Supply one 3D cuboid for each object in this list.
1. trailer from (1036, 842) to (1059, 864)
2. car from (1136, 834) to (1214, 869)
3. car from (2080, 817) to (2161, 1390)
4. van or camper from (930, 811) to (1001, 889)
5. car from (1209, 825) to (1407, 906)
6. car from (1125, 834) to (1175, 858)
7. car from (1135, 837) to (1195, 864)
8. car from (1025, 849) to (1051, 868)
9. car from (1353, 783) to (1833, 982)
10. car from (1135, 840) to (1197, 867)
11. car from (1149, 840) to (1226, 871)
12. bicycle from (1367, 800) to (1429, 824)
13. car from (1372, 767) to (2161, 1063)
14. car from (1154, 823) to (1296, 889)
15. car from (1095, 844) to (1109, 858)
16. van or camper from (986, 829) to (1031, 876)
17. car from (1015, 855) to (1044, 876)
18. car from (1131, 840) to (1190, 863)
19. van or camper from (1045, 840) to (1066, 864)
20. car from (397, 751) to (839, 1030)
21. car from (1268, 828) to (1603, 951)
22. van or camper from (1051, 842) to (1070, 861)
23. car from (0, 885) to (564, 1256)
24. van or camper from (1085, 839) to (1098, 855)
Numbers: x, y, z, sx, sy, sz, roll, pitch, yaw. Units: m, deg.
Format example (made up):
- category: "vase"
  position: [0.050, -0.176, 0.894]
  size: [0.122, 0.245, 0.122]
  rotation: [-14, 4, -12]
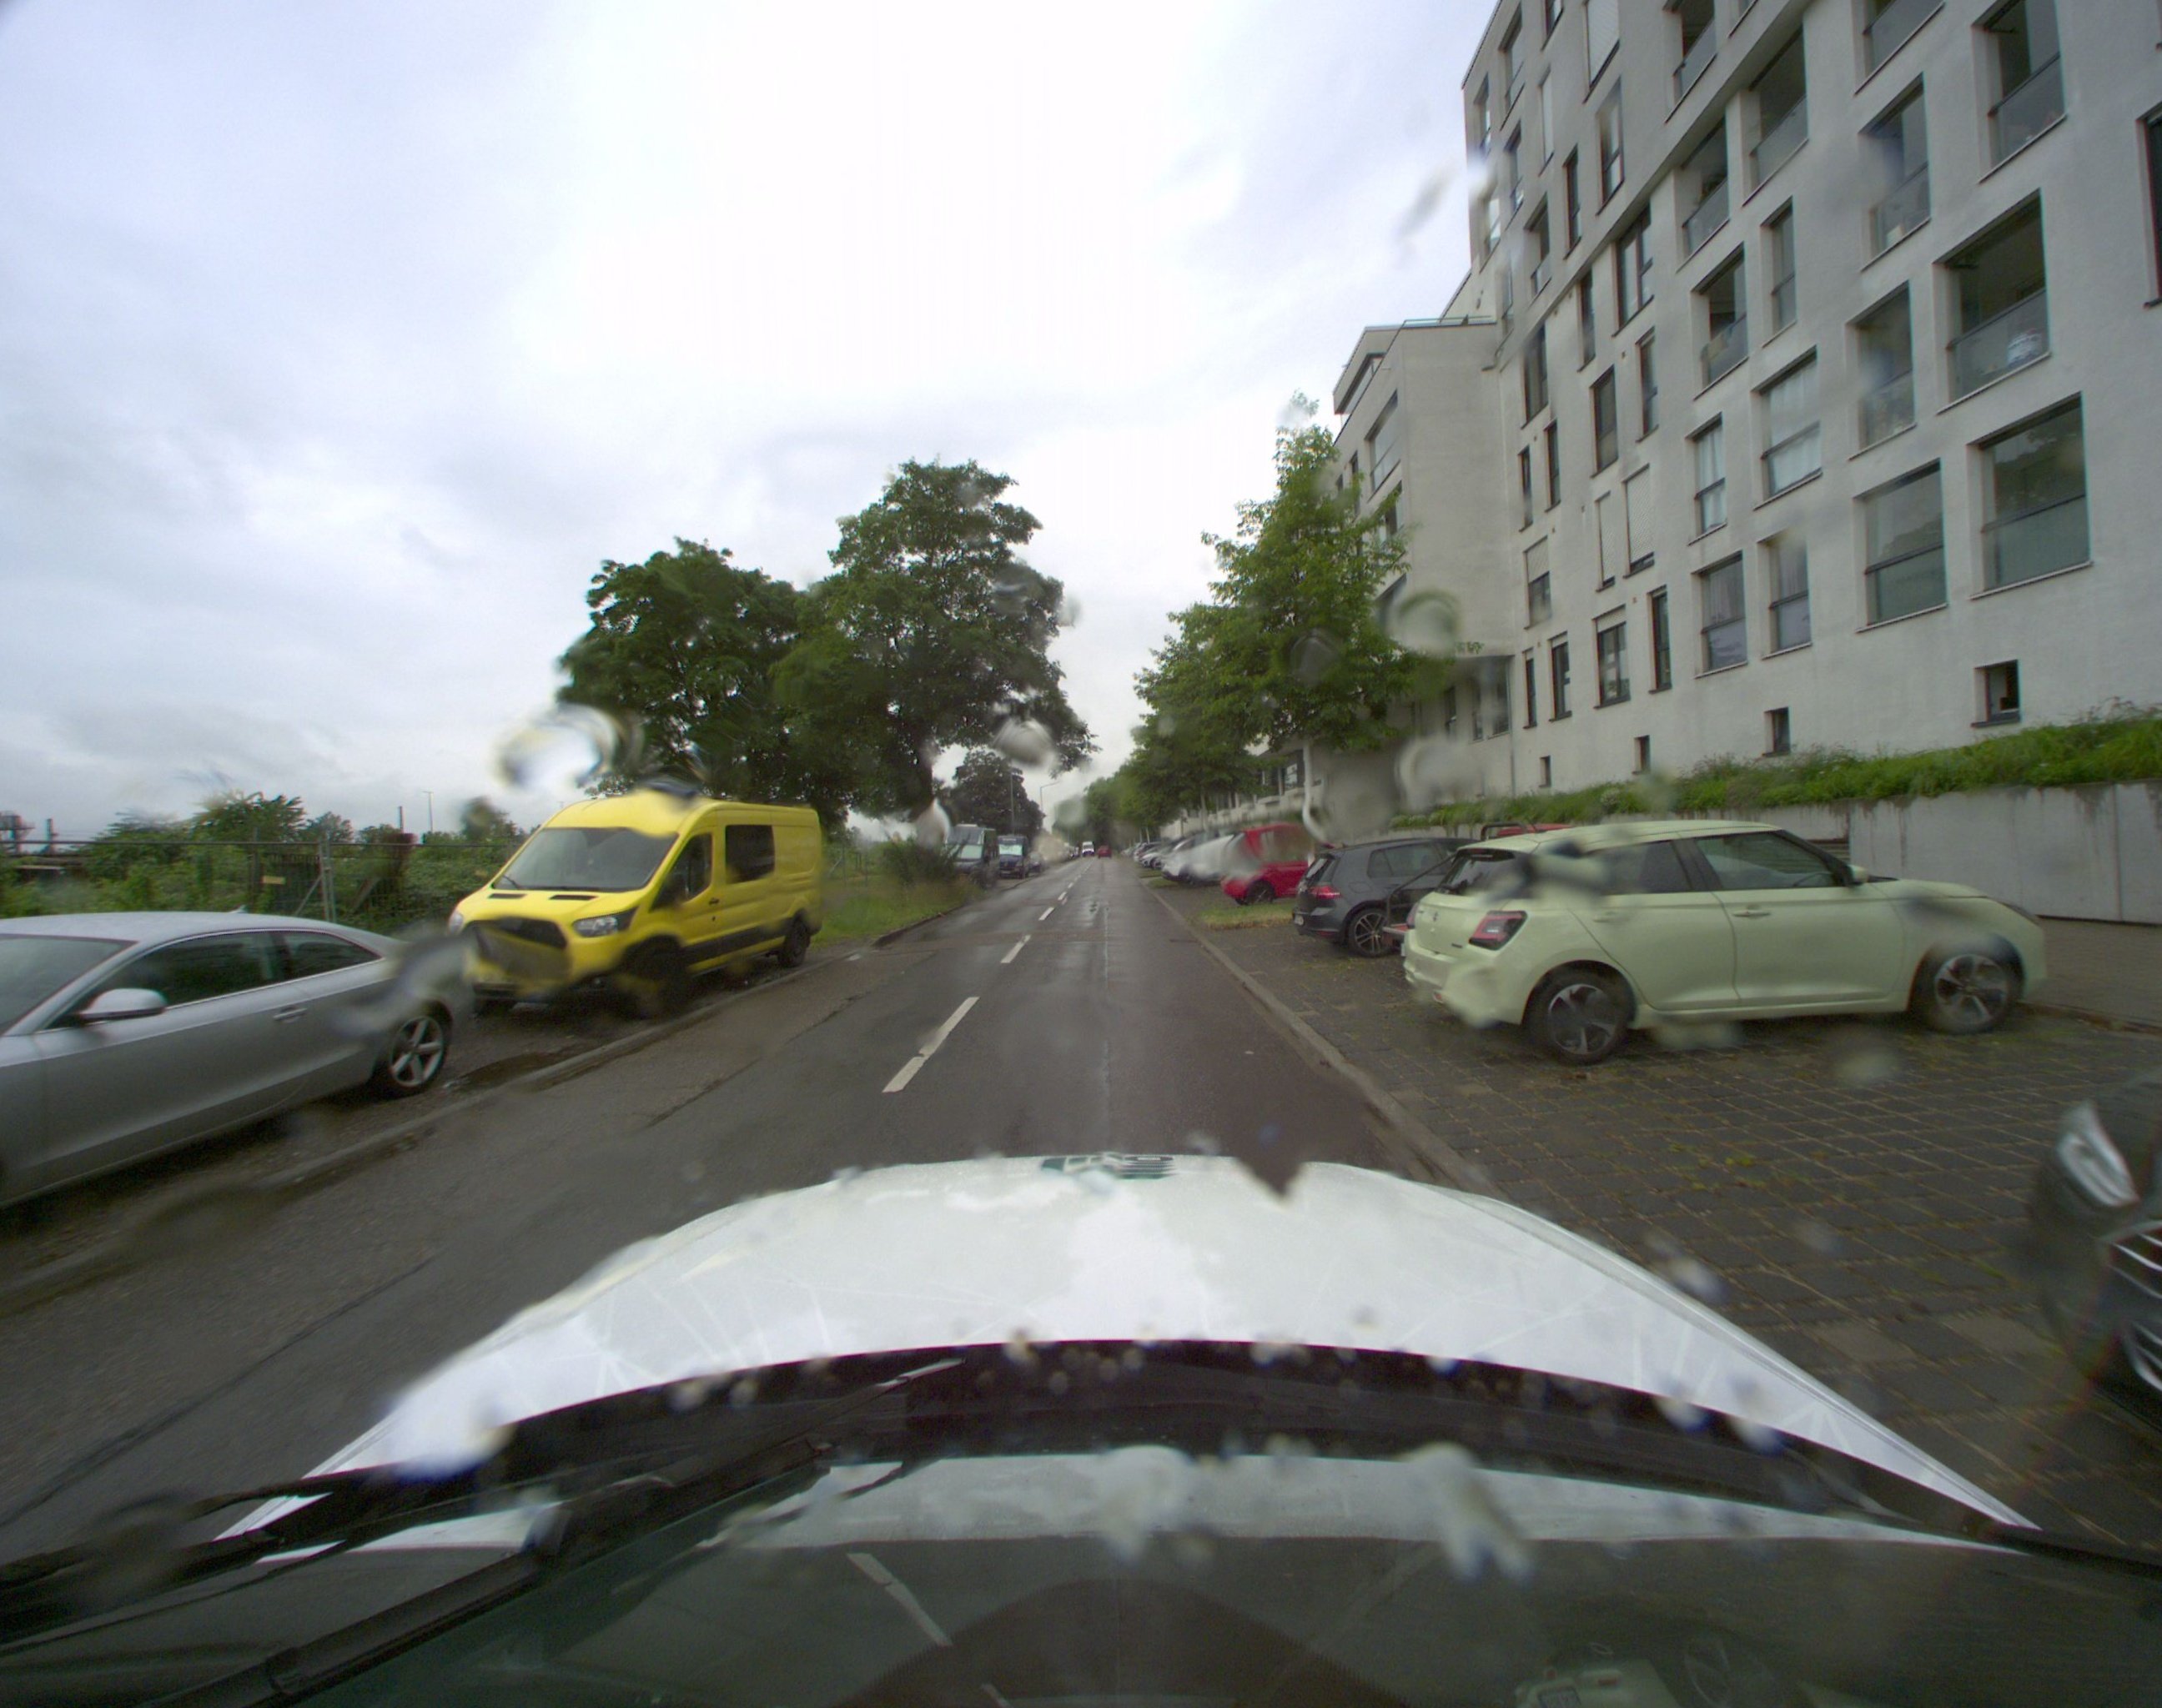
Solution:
- category: "trailer"
  position: [-3.469, -0.112, 85.435]
  size: [2.052, 2.217, 5.794]
  rotation: [-1, 0, 0]
- category: "car"
  position: [5.802, -0.142, 50.699]
  size: [4.462, 1.686, 1.935]
  rotation: [-6, 1, 0]
- category: "car"
  position: [5.034, 0.461, 1.301]
  size: [4.555, 1.497, 1.825]
  rotation: [-5, 0, 0]
- category: "van or camper"
  position: [-4.872, -0.153, 35.318]
  size: [2.087, 3.094, 6.424]
  rotation: [0, 0, 1]
- category: "car"
  position: [5.111, 0.268, 18.745]
  size: [3.974, 1.451, 1.821]
  rotation: [-5, -1, 0]
- category: "car"
  position: [6.581, -0.788, 77.980]
  size: [4.606, 2.019, 1.857]
  rotation: [-3, 0, -2]
- category: "car"
  position: [6.211, -0.251, 60.637]
  size: [4.150, 1.624, 1.897]
  rotation: [-4, 0, -2]
- category: "car"
  position: [-3.594, 0.374, 69.552]
  size: [1.880, 1.525, 5.110]
  rotation: [0, 0, 1]
- category: "car"
  position: [5.204, 0.273, 8.677]
  size: [3.972, 1.555, 1.635]
  rotation: [-5, 0, 1]
- category: "car"
  position: [5.742, -0.048, 55.457]
  size: [3.973, 1.509, 1.685]
  rotation: [-4, 1, 1]
- category: "car"
  position: [5.944, 0.055, 45.854]
  size: [3.977, 1.495, 1.935]
  rotation: [-3, 1, -2]
- category: "bicycle"
  position: [16.646, -2.220, 42.871]
  size: [2.933, 1.118, 0.919]
  rotation: [-2, 0, 17]
- category: "car"
  position: [4.722, 0.386, 5.998]
  size: [4.472, 1.481, 1.692]
  rotation: [-5, 0, 1]
- category: "car"
  position: [5.030, 0.052, 28.937]
  size: [4.527, 1.685, 1.885]
  rotation: [-8, 0, -2]
- category: "car"
  position: [2.895, -0.384, 111.048]
  size: [1.750, 1.705, 4.002]
  rotation: [-3, 1, 1]
- category: "van or camper"
  position: [-4.408, -0.077, 50.875]
  size: [2.088, 2.715, 7.573]
  rotation: [0, 0, 0]
- category: "car"
  position: [-3.933, 0.831, 62.700]
  size: [1.767, 1.502, 4.830]
  rotation: [-1, 0, 2]
- category: "car"
  position: [6.096, -0.158, 62.959]
  size: [4.286, 1.428, 1.636]
  rotation: [-4, 0, -1]
- category: "van or camper"
  position: [-2.990, -0.251, 97.820]
  size: [1.986, 2.762, 7.902]
  rotation: [-1, 0, 2]
- category: "car"
  position: [-5.408, 0.338, 10.951]
  size: [2.182, 2.694, 6.087]
  rotation: [0, 0, 3]
- category: "car"
  position: [4.764, 0.450, 11.292]
  size: [3.945, 1.474, 1.591]
  rotation: [-2, 0, -1]
- category: "van or camper"
  position: [-2.760, -0.367, 111.967]
  size: [2.181, 2.461, 6.380]
  rotation: [-1, 0, 2]
- category: "car"
  position: [-5.569, 0.988, 4.428]
  size: [2.003, 1.434, 5.341]
  rotation: [0, 0, 1]
- category: "van or camper"
  position: [1.884, -1.209, 142.381]
  size: [1.986, 2.497, 7.182]
  rotation: [-4, 0, 2]
